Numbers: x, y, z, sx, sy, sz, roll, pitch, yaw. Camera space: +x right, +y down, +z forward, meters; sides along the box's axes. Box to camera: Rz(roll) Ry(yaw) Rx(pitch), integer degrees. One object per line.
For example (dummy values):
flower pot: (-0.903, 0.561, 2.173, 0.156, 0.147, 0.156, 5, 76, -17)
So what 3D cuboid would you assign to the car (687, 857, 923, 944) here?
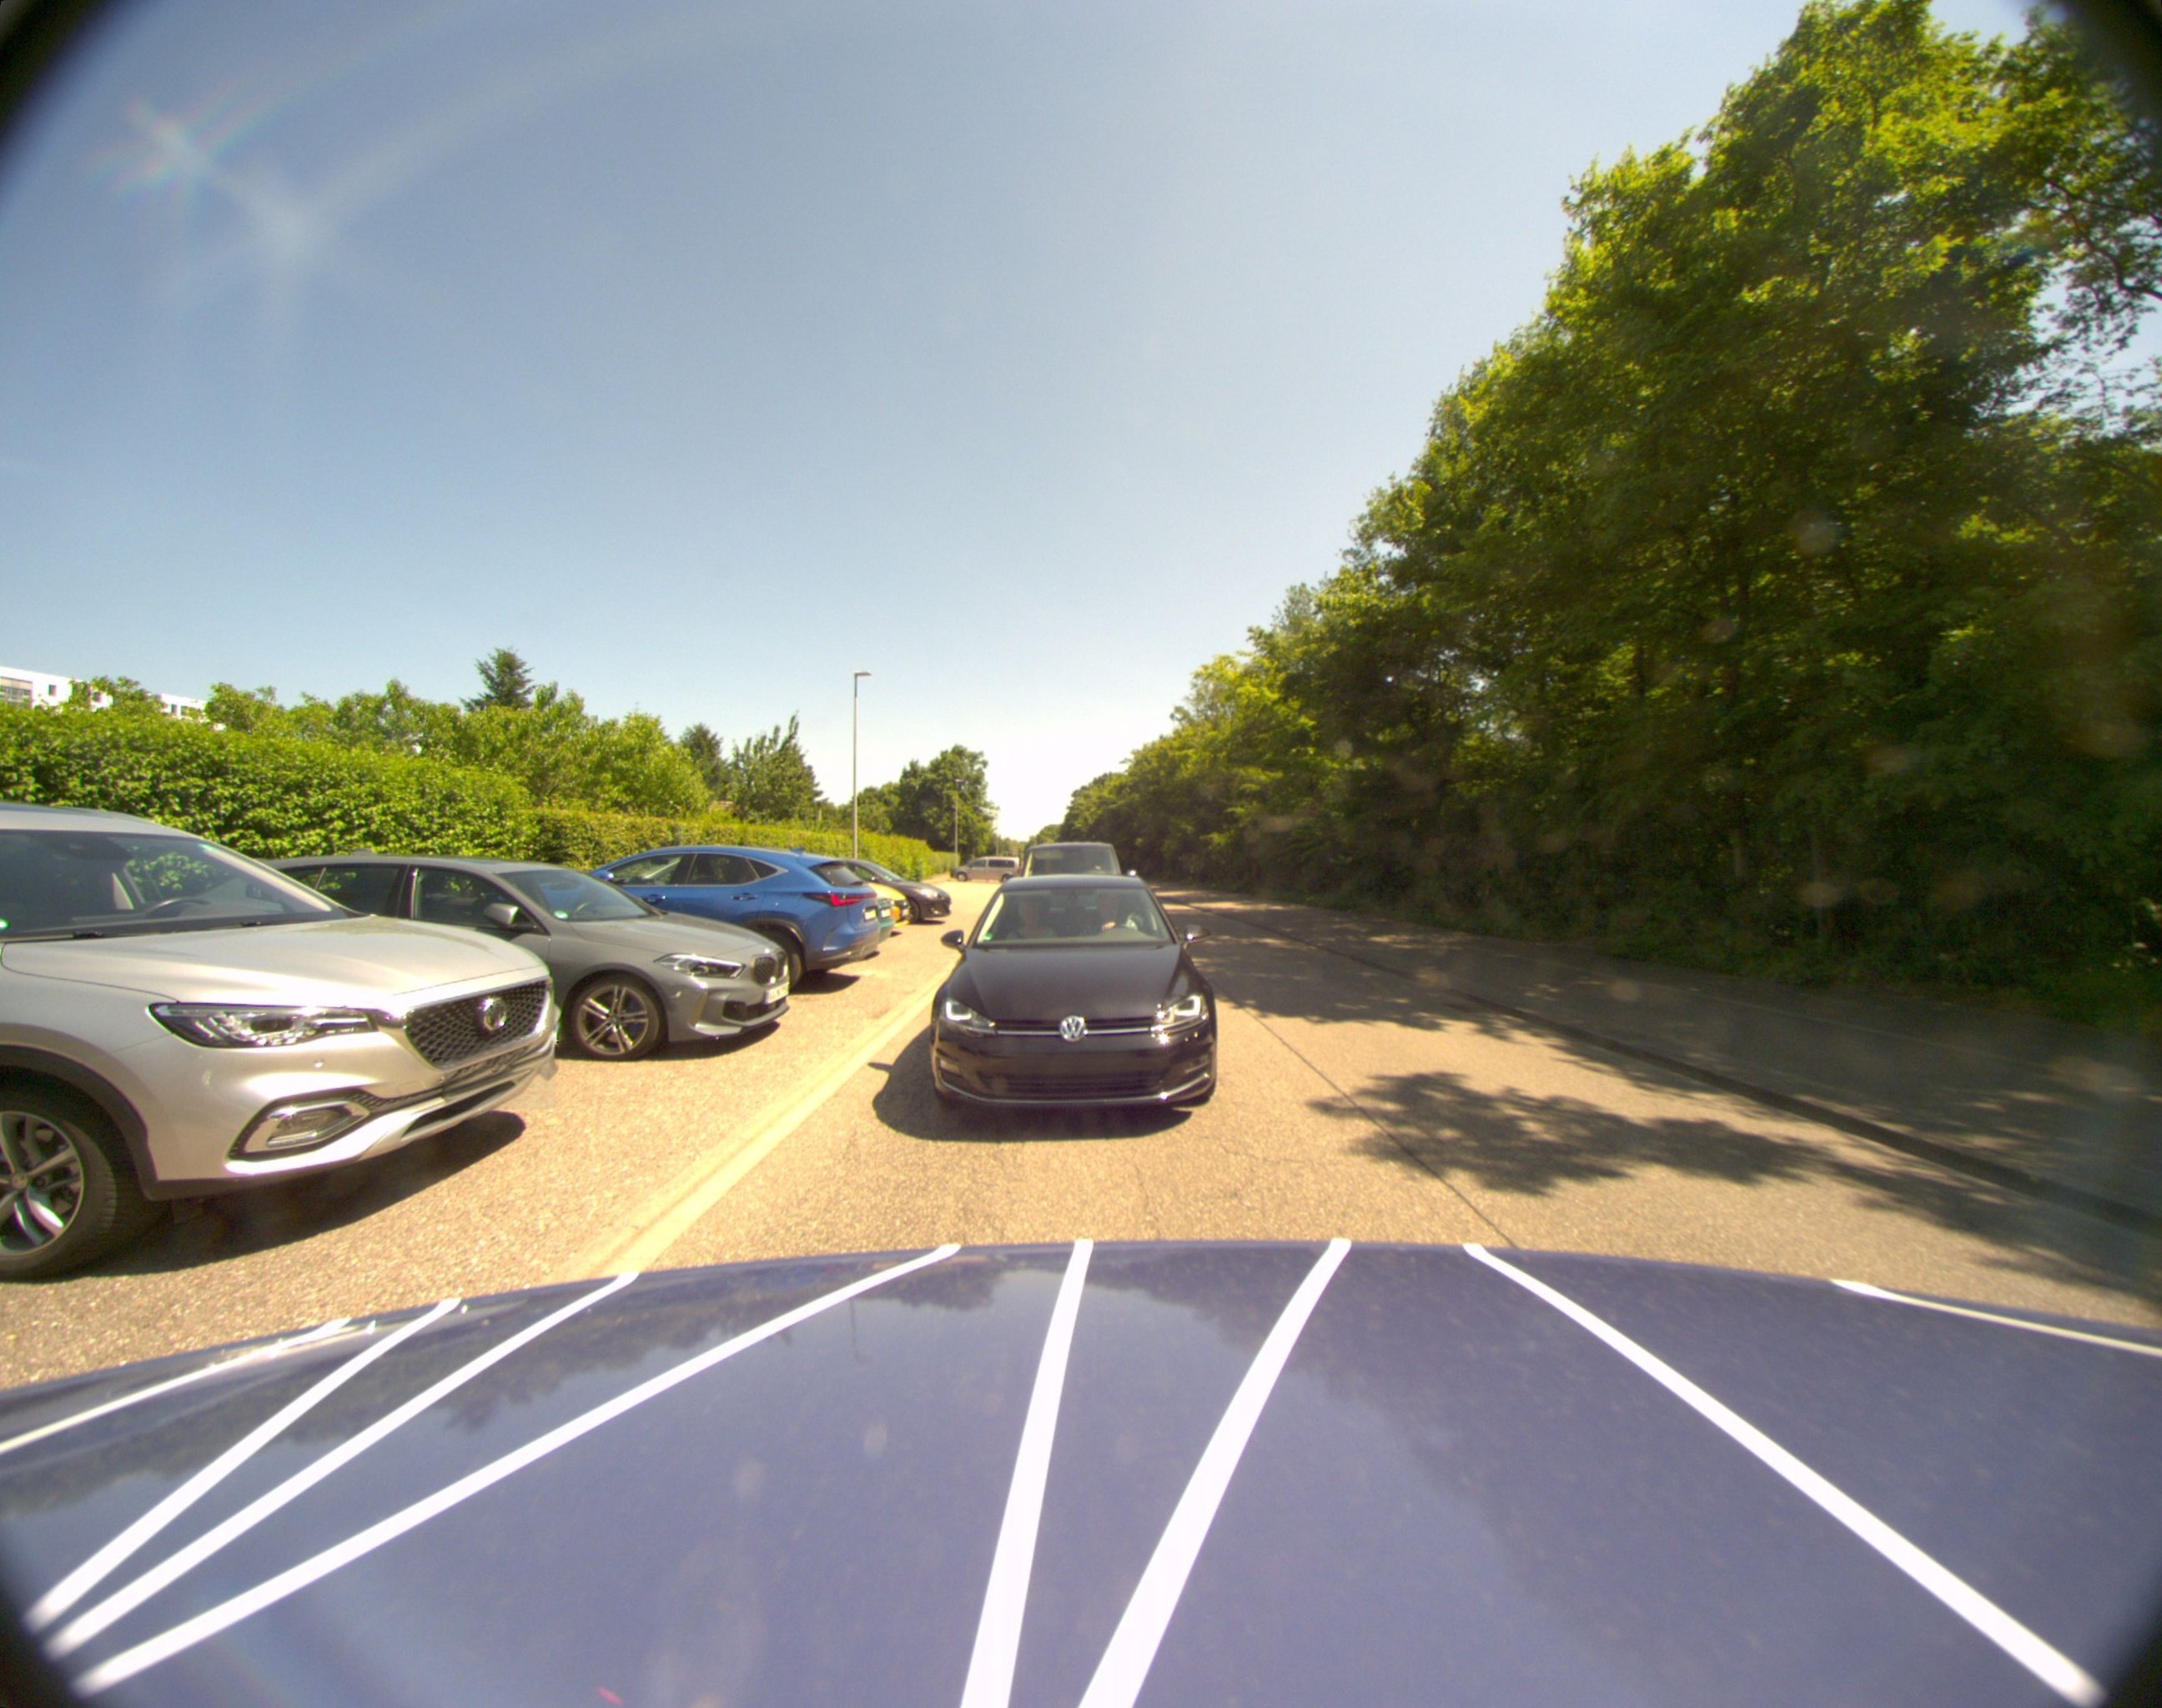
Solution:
car: (-5.400, 0.884, 15.206, 4.036, 1.438, 1.649, 3, 0, 0)

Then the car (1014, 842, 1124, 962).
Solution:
car: (-0.217, 0.781, 14.343, 1.743, 1.904, 4.388, -1, 0, -1)

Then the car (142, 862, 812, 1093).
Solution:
car: (-4.545, 0.885, 6.193, 4.036, 1.401, 1.679, 3, 0, -1)

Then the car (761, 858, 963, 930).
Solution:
car: (-5.121, 0.918, 18.116, 4.251, 1.410, 1.649, 3, 0, 0)

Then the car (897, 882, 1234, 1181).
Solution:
car: (-0.098, 1.005, 6.151, 1.743, 1.396, 4.388, -1, 0, -1)

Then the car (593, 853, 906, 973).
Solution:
car: (-4.949, 0.848, 11.717, 4.036, 1.505, 1.649, 3, 0, 0)

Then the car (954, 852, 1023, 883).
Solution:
car: (-6.238, 0.904, 51.768, 4.493, 1.840, 1.695, 3, 0, -4)

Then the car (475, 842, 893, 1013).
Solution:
car: (-4.510, 0.799, 9.060, 4.036, 1.632, 1.673, 3, 0, 0)

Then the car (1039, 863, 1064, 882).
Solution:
car: (-2.405, 1.464, 60.815, 1.744, 1.396, 4.386, 1, 0, -5)

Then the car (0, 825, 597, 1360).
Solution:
car: (-4.799, 0.721, 3.290, 4.170, 1.632, 1.775, 3, 0, -2)
